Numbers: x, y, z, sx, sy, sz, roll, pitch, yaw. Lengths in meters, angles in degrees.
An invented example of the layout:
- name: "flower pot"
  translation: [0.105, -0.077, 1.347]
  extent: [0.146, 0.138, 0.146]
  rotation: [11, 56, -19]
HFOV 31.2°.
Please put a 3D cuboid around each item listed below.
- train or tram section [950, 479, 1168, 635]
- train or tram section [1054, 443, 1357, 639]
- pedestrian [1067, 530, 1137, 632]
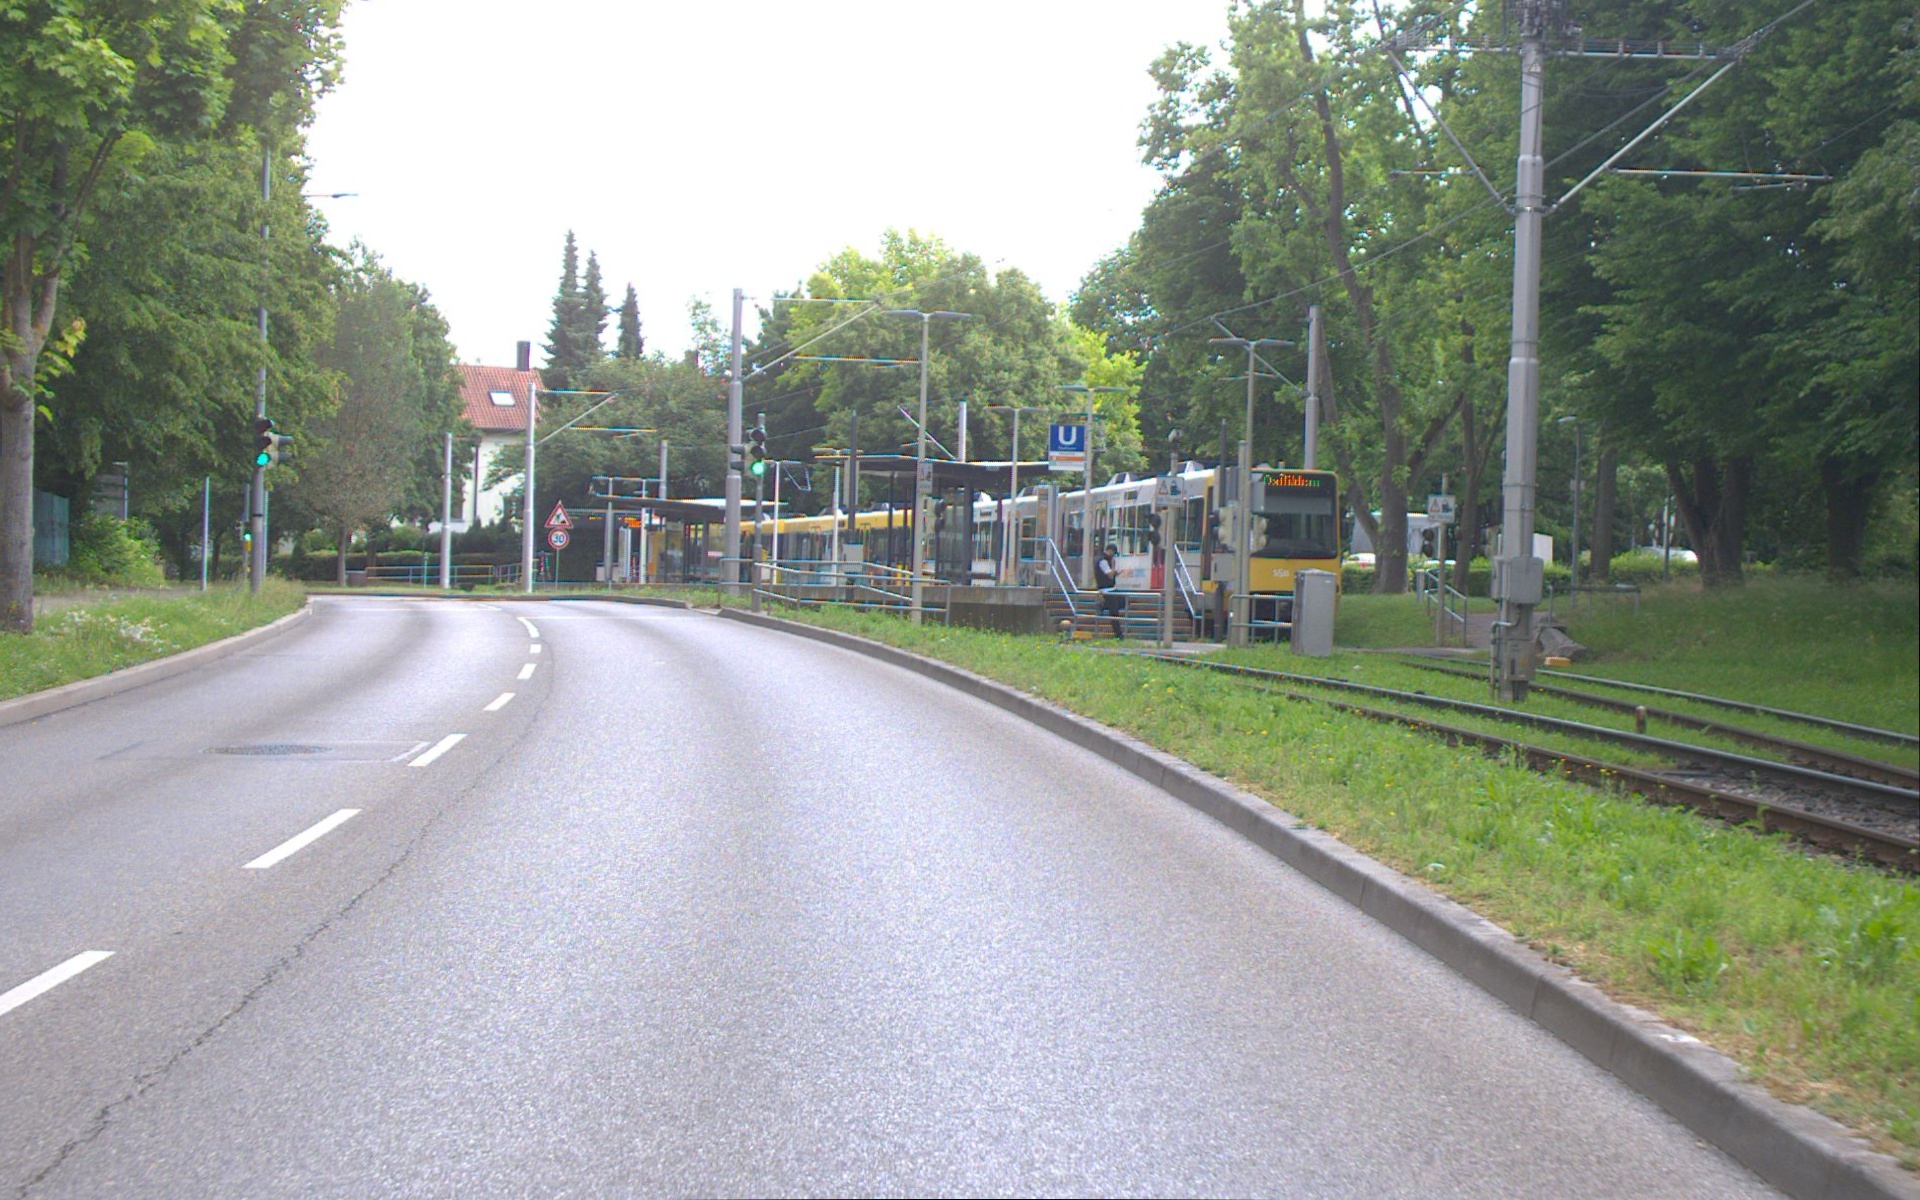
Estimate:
- name: "train or tram section"
  translation: [2.444, -1.078, 95.117]
  extent: [2.813, 3.786, 18.937]
  rotation: [2, 0, -8]
- name: "train or tram section"
  translation: [5.068, -1.149, 76.451]
  extent: [2.813, 3.724, 18.536]
  rotation: [2, 0, -8]
- name: "pedestrian"
  translation: [2.516, -0.334, 60.911]
  extent: [0.983, 1.752, 0.730]
  rotation: [2, 1, -18]
